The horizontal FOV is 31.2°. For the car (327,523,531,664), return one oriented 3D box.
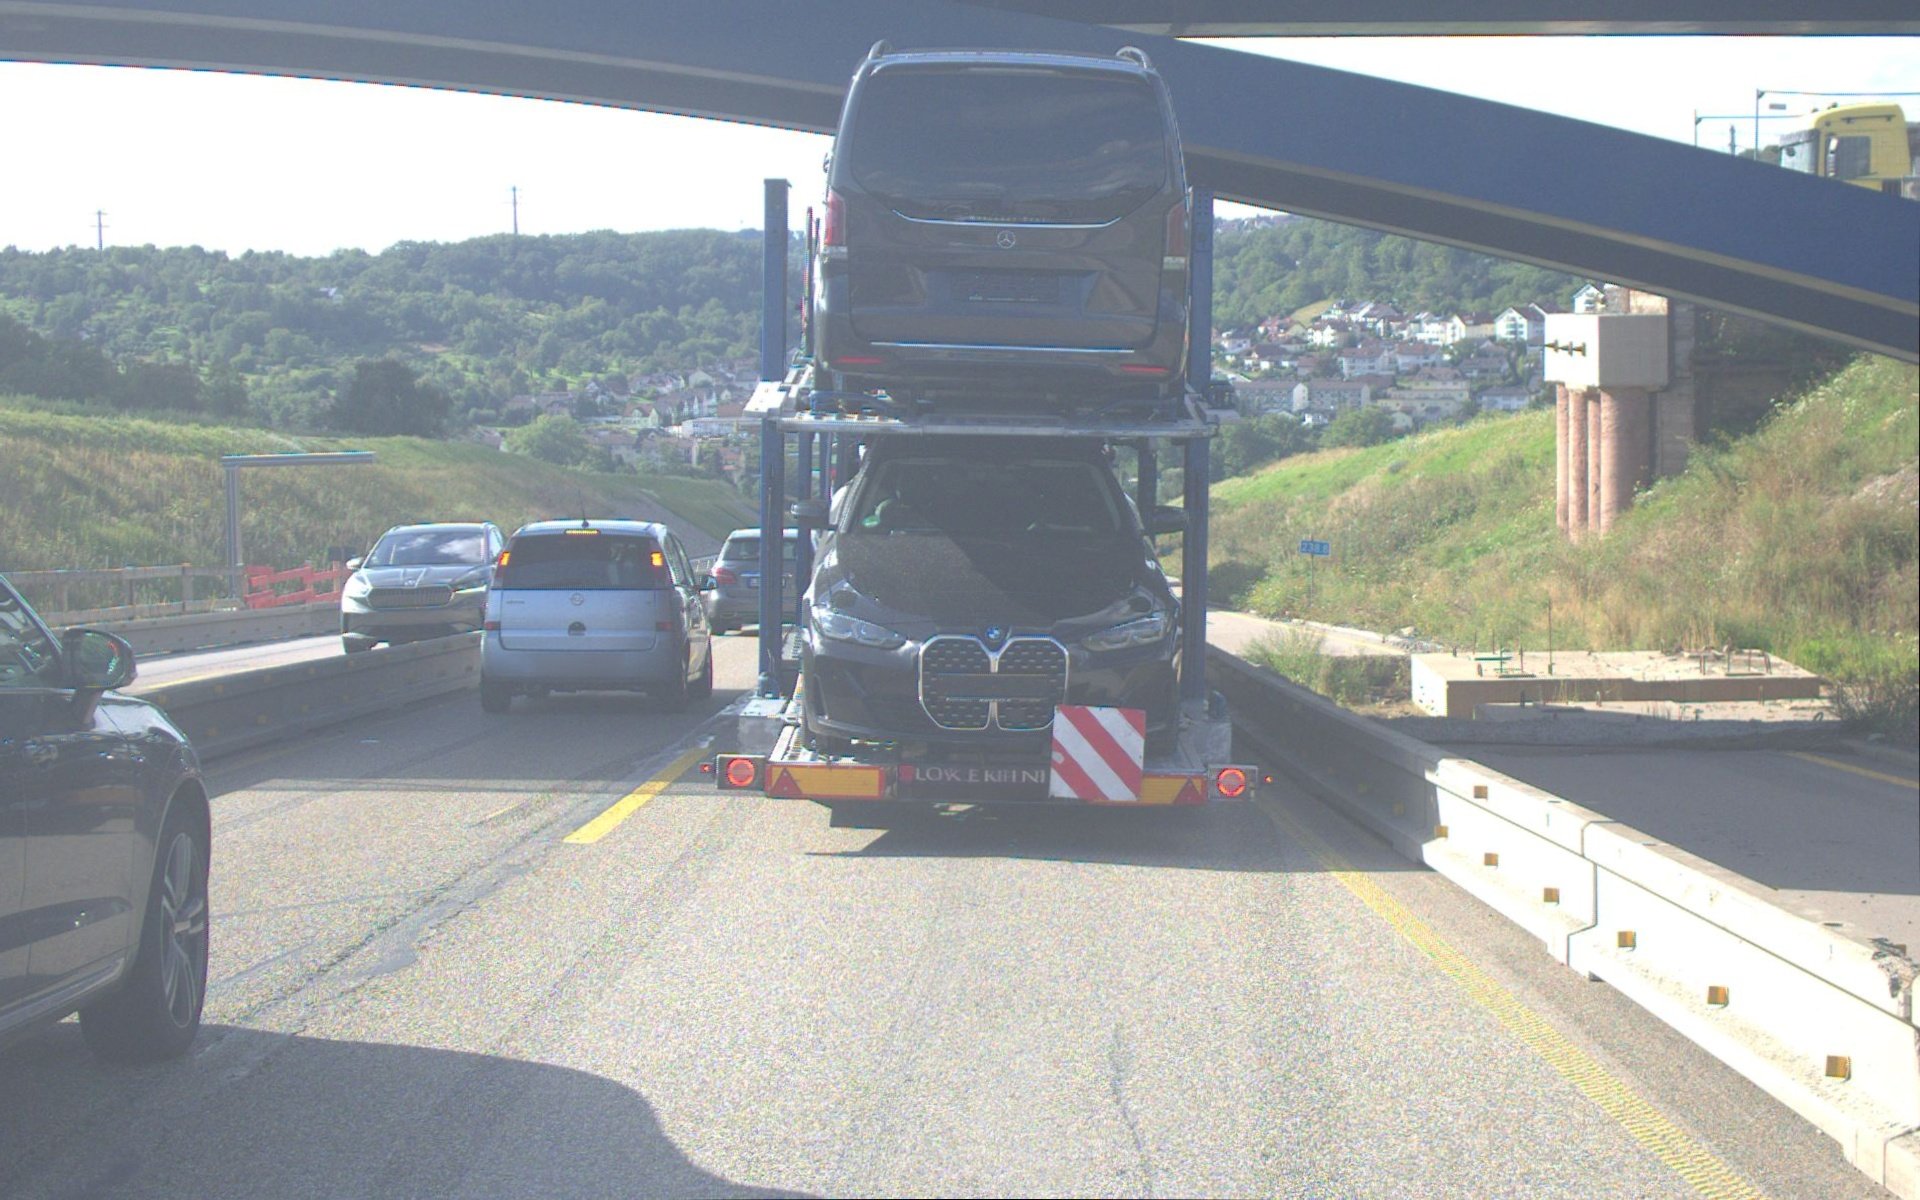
[{"bbox_3d":[-6.516,-0.126,42.619,1.823,1.558,4.218,-3,2,0],"label":"car"}]

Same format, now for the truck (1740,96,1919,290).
[{"bbox_3d":[19.029,-7.303,61.998,9.263,3.216,2.960,0,1,1],"label":"truck"}]

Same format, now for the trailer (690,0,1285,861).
[{"bbox_3d":[0.104,-0.921,21.373,2.708,4.015,11.420,0,1,0],"label":"trailer"}]

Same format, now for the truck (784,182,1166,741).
[{"bbox_3d":[0.094,-1.024,27.109,2.678,3.908,6.028,0,1,0],"label":"truck"}]

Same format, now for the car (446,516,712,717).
[{"bbox_3d":[-3.194,0.084,29.643,1.796,1.591,4.743,0,1,0],"label":"car"}]

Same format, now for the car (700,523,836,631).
[{"bbox_3d":[-2.803,-0.380,50.981,1.796,1.525,4.295,0,1,0],"label":"car"}]

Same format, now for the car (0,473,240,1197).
[{"bbox_3d":[-3.153,0.519,8.059,1.993,1.619,4.750,0,1,-1],"label":"car"}]
